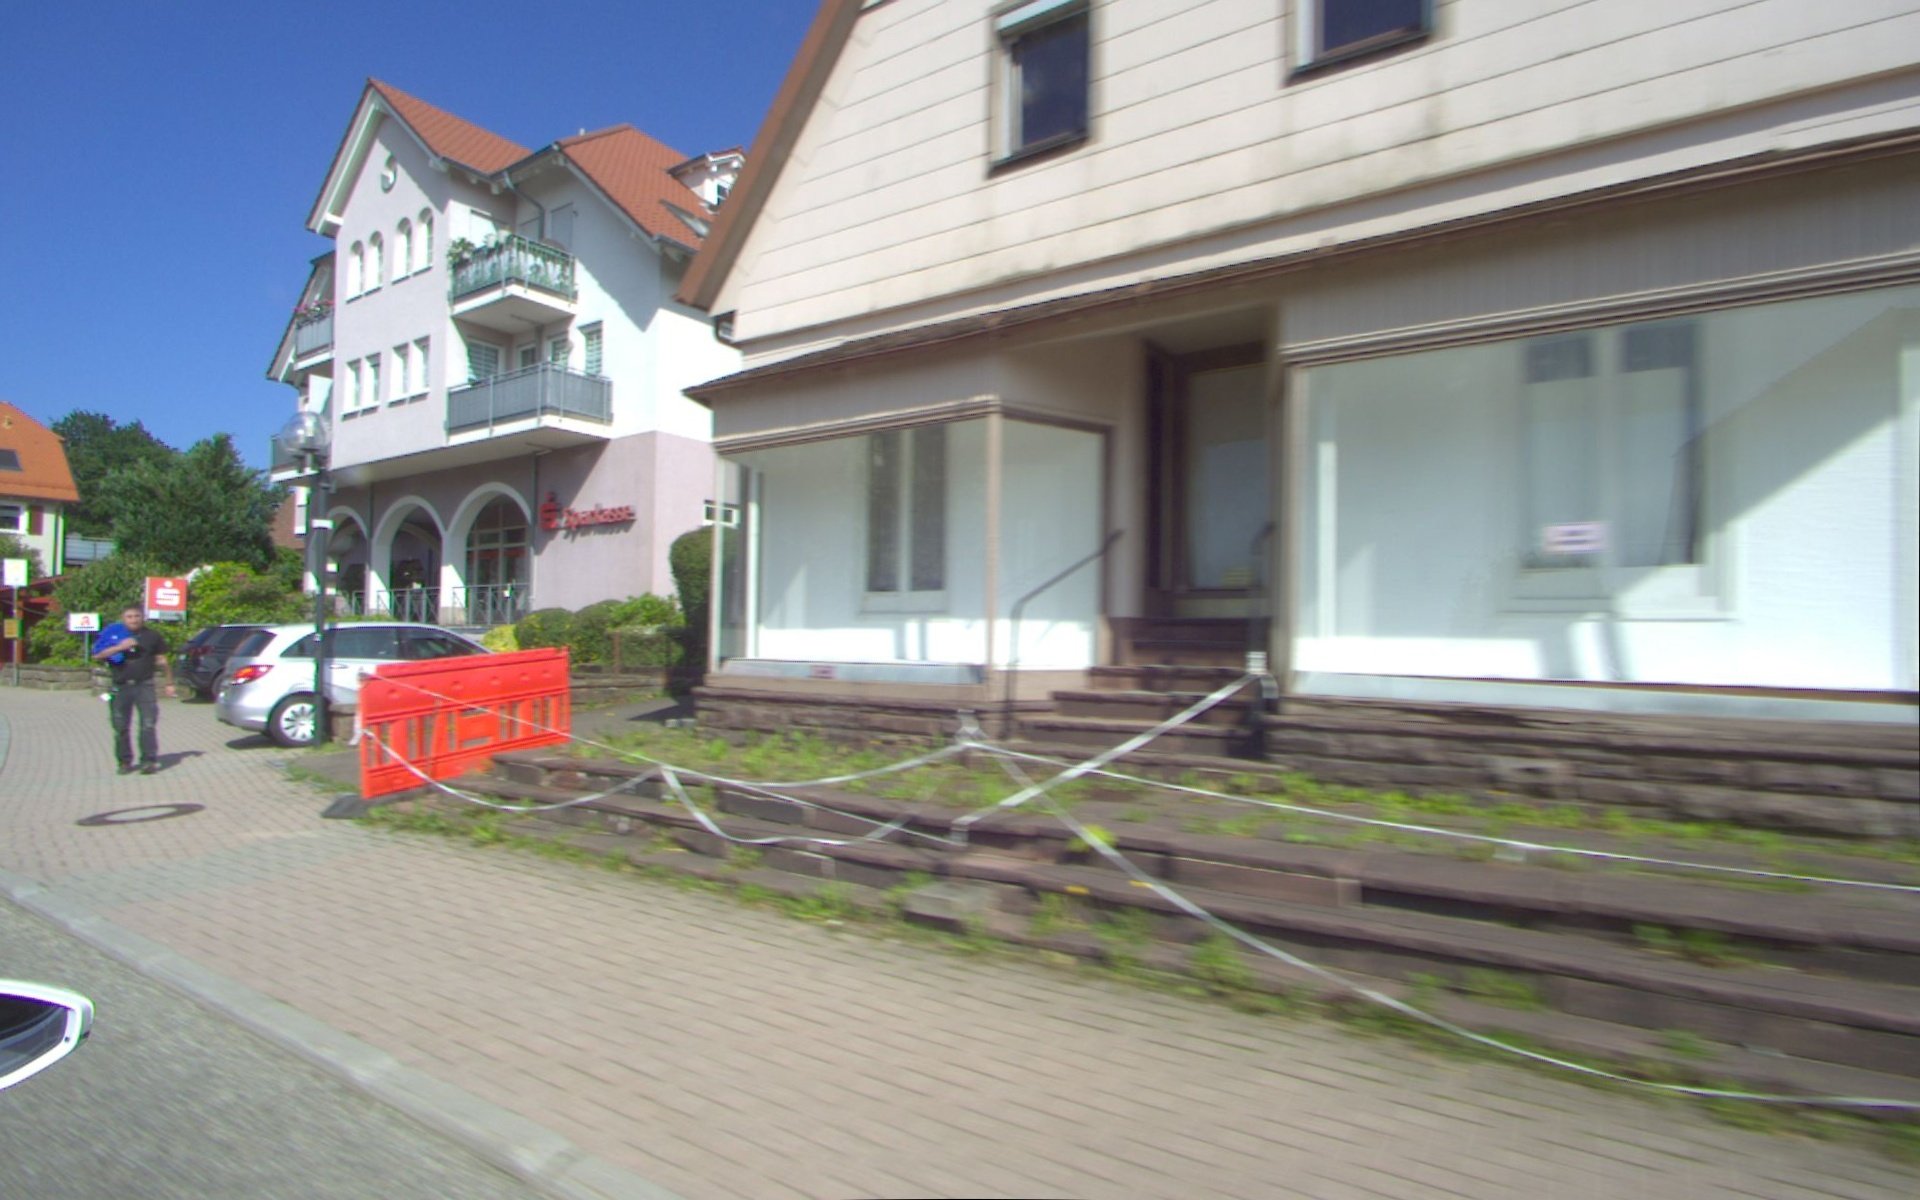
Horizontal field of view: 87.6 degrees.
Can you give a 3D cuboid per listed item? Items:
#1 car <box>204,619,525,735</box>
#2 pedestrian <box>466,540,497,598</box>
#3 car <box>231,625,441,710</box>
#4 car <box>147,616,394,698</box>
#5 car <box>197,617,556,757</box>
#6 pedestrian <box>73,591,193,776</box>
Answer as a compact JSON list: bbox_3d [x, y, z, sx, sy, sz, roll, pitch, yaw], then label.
[{"bbox_3d":[-9.099,1.144,15.526,1.720,1.568,3.964,-1,-3,45],"label":"car"},{"bbox_3d":[-14.686,-0.943,30.730,0.747,1.746,0.610,2,2,38],"label":"pedestrian"},{"bbox_3d":[-12.194,1.251,19.683,1.610,1.488,3.217,0,-1,42],"label":"car"},{"bbox_3d":[-14.505,1.125,21.251,1.857,1.568,3.973,-1,-1,37],"label":"car"},{"bbox_3d":[-7.702,1.046,13.395,3.836,1.578,1.945,2,-2,-43],"label":"car"},{"bbox_3d":[-8.590,0.822,10.400,0.968,1.808,0.796,0,0,40],"label":"pedestrian"}]
